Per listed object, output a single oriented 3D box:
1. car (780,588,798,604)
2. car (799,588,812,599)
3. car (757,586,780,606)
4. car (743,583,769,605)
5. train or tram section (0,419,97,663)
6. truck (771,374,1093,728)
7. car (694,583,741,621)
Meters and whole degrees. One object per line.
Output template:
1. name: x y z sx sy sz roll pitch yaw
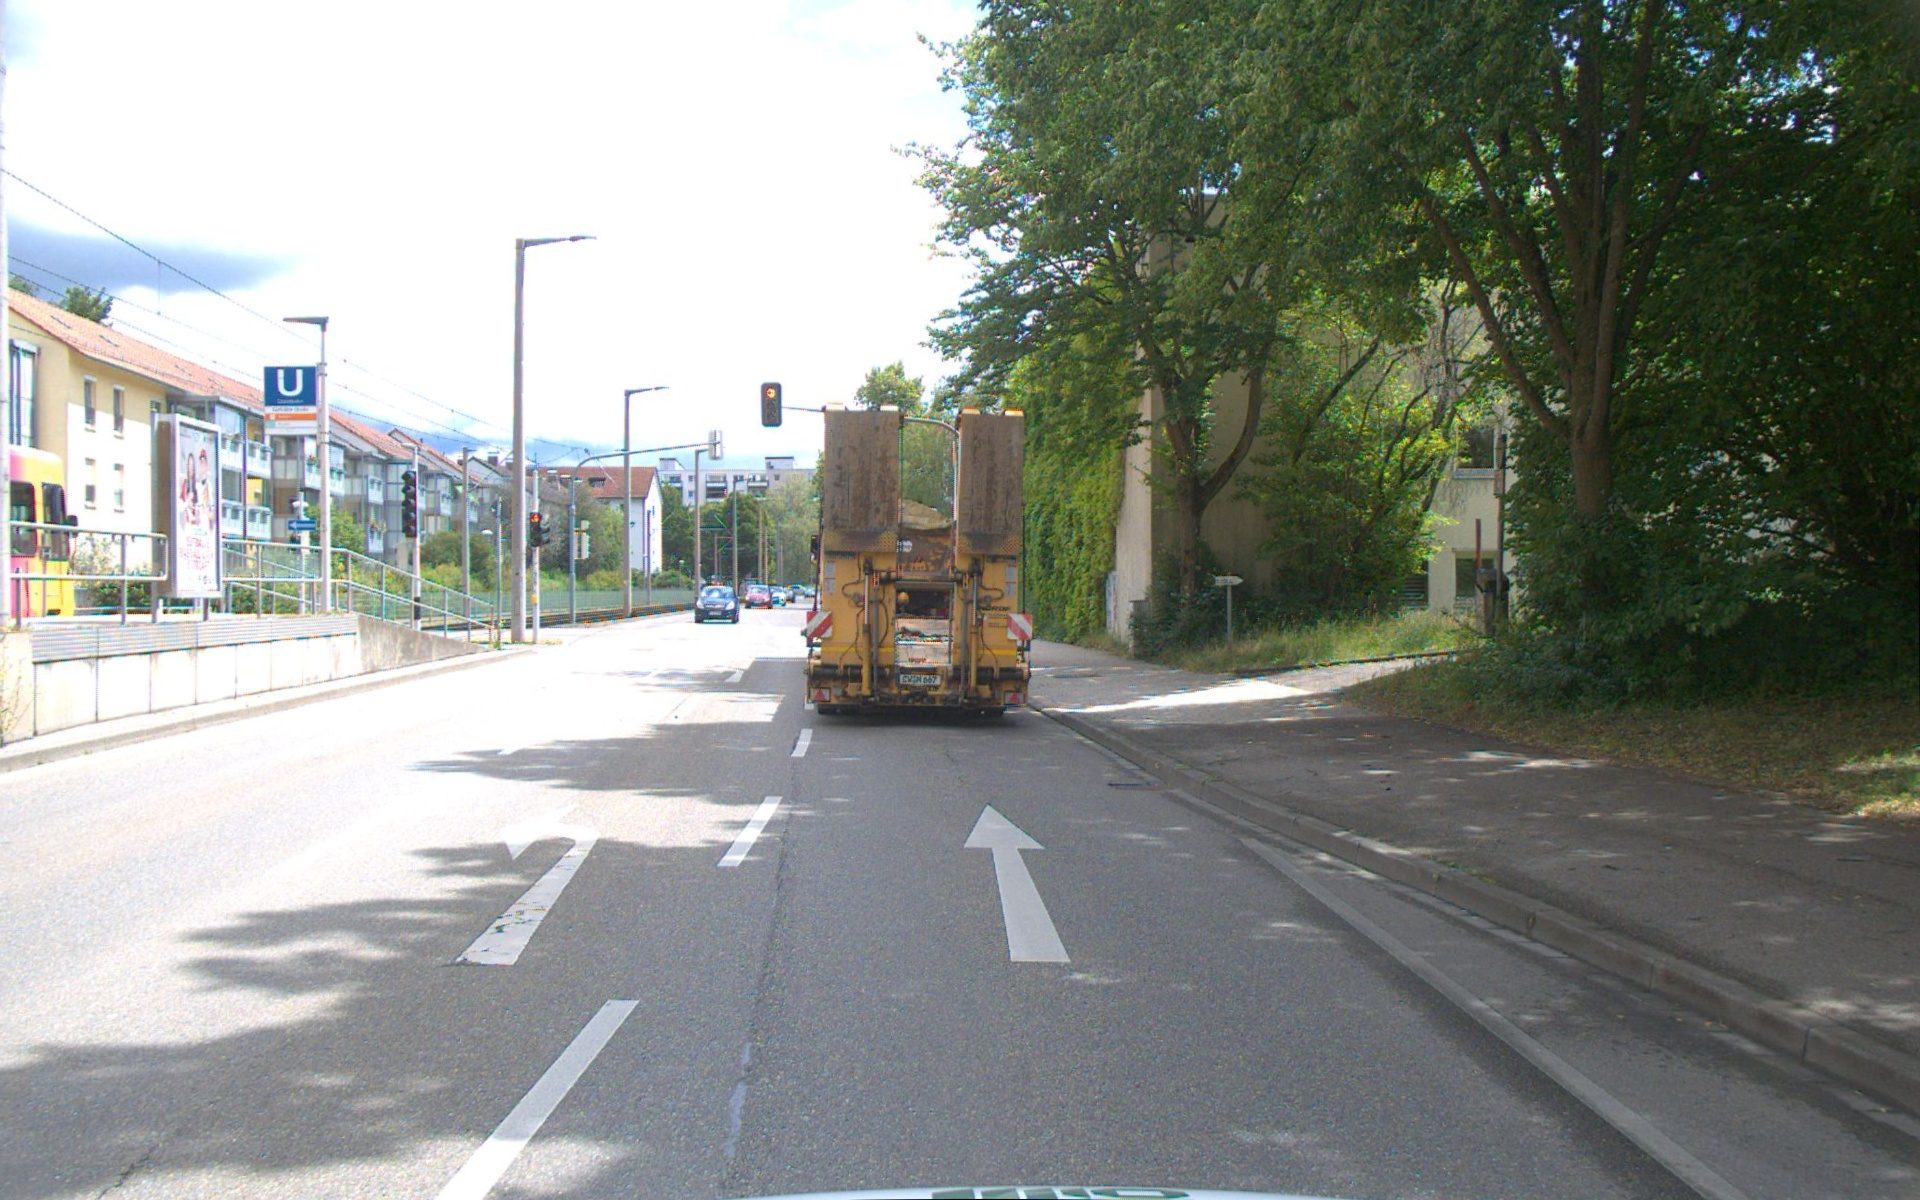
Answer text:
1. car: -16.517 -0.380 159.655 1.635 1.478 3.675 1 0 -5
2. car: -20.543 -0.880 220.244 1.635 1.478 3.675 1 0 -5
3. car: -14.843 -0.301 128.291 1.635 1.478 3.675 1 0 -5
4. car: -13.953 -0.397 113.115 1.635 1.478 3.675 1 0 -5
5. train or tram section: -14.842 -0.831 17.426 3.047 3.525 19.069 1 0 -5
6. truck: -1.062 -0.604 24.820 3.338 3.797 13.716 0 1 -7
7. car: -9.818 0.078 67.153 1.635 1.478 3.675 1 0 -5
